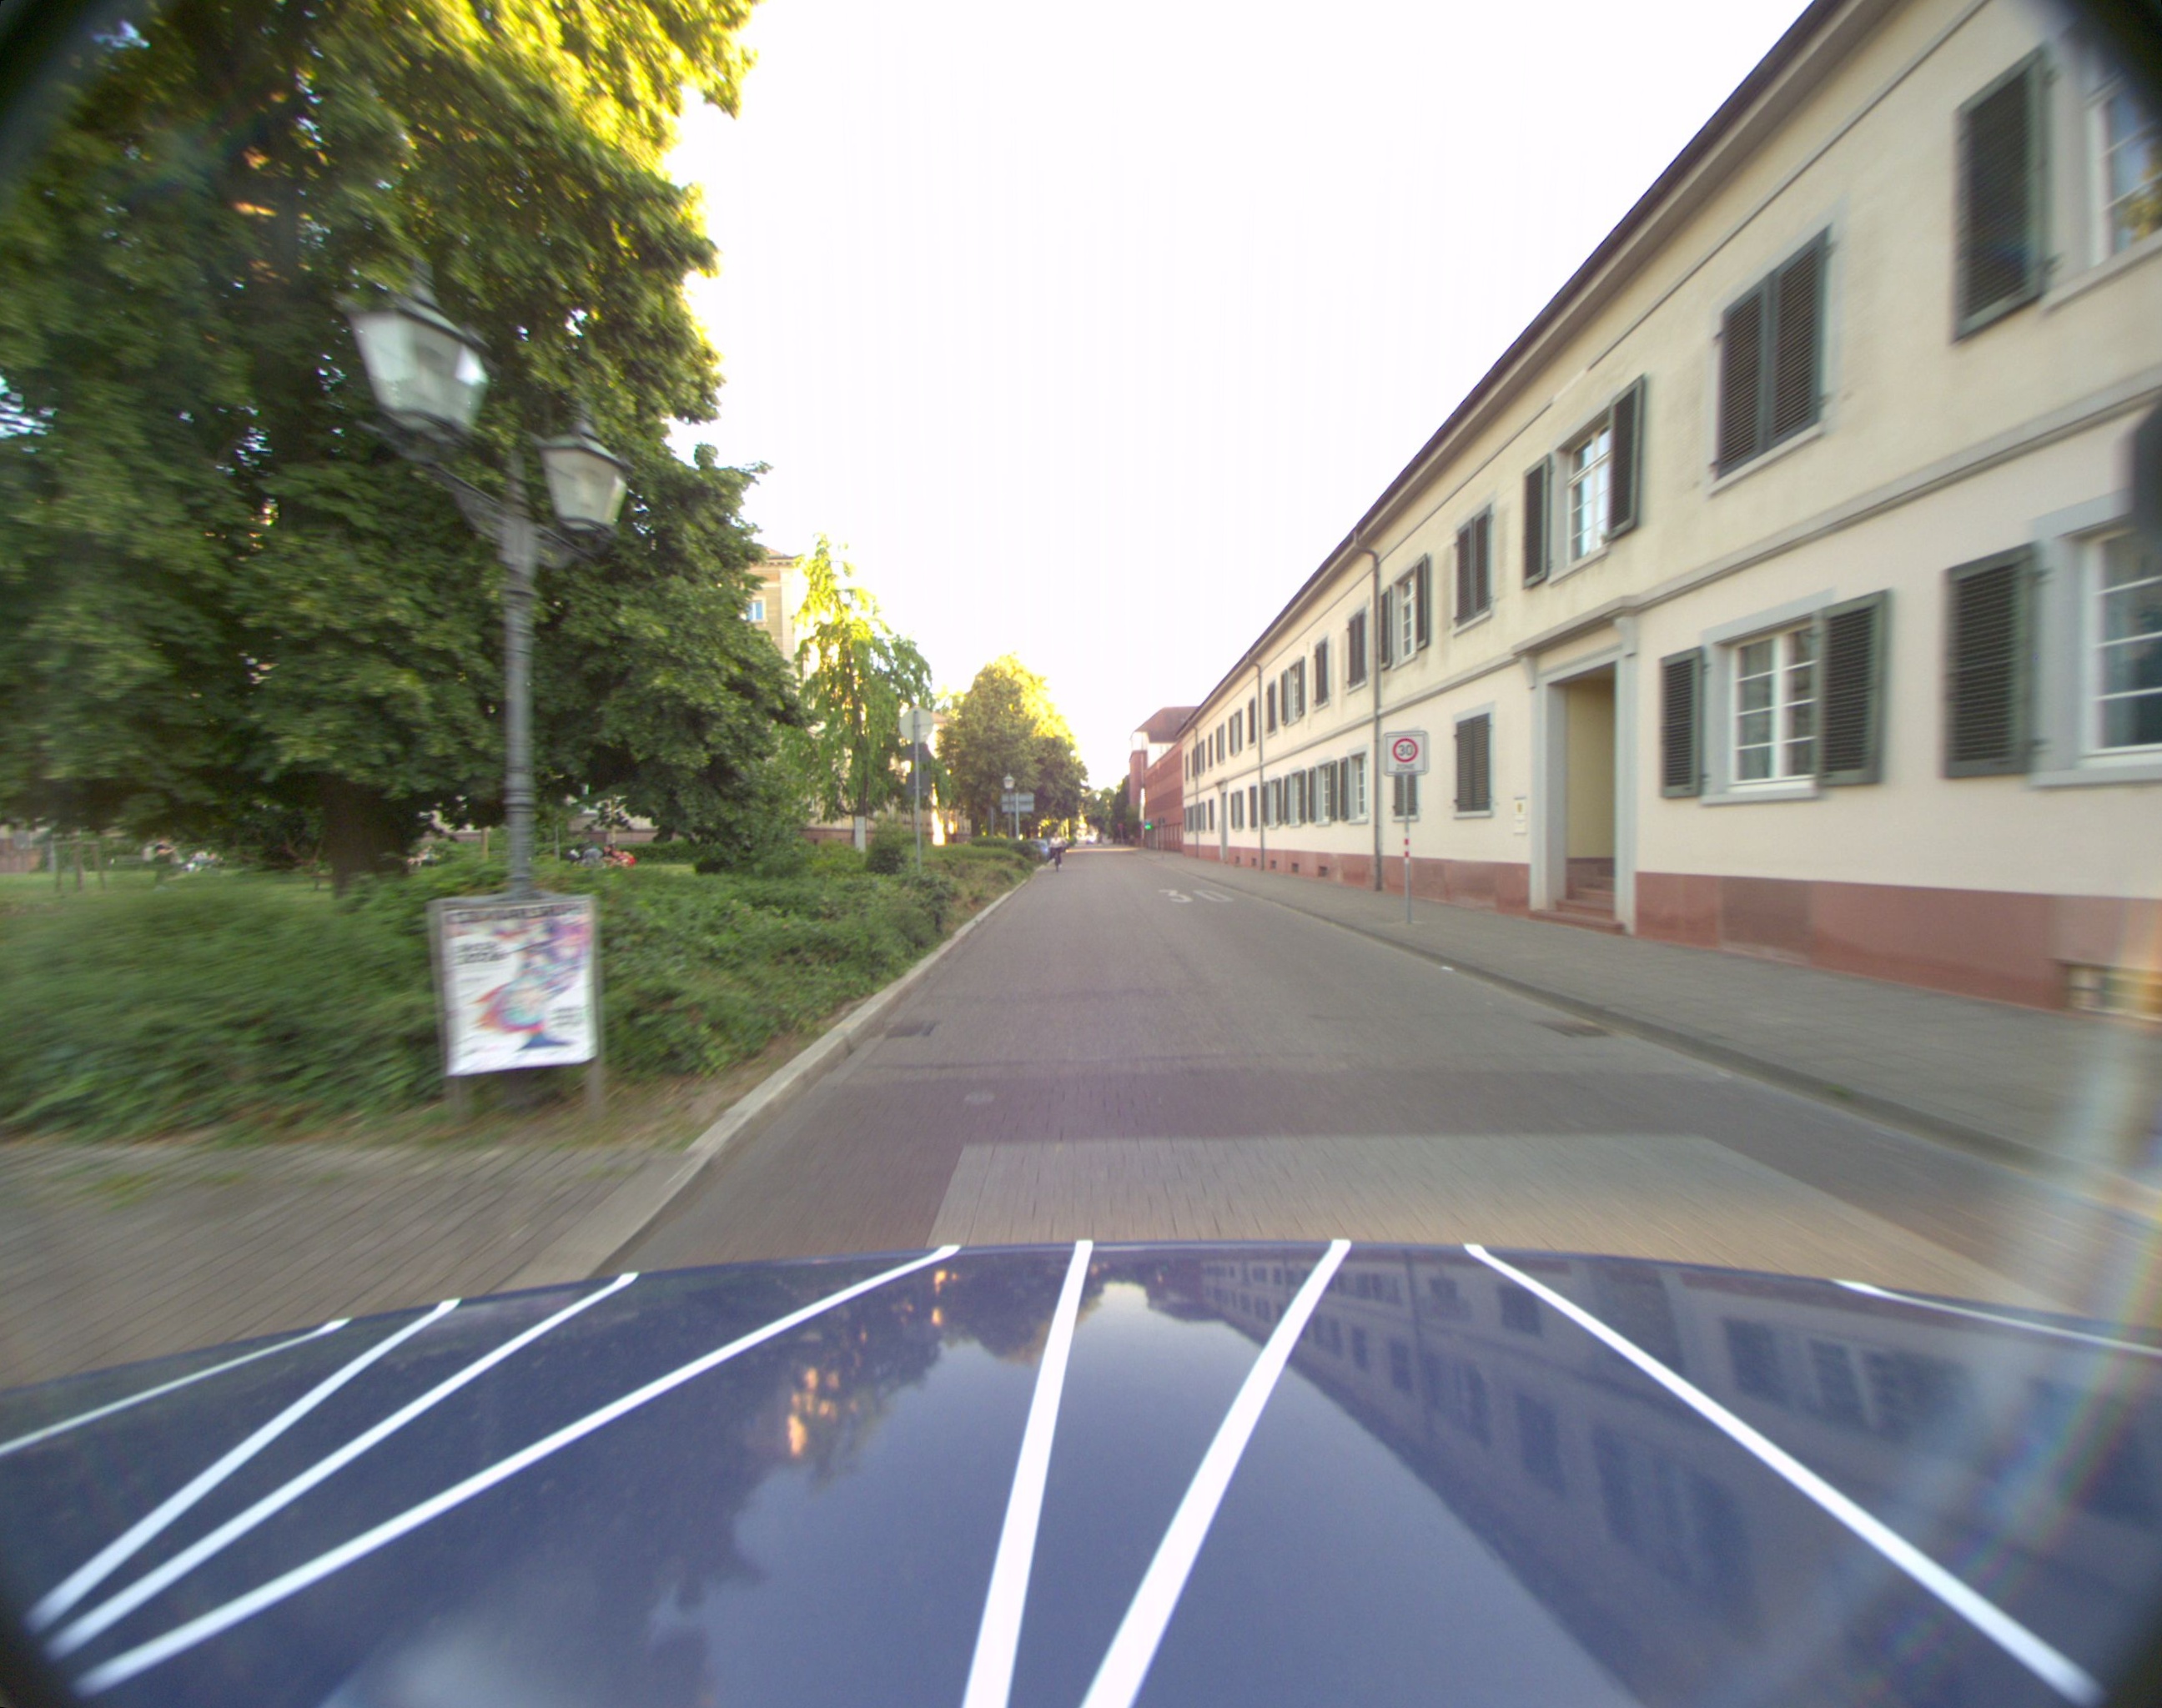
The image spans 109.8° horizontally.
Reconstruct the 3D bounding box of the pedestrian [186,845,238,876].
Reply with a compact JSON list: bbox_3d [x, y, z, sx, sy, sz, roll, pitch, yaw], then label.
[{"bbox_3d":[-44.809,0.340,39.207,0.802,1.547,1.567,0,2,1],"label":"pedestrian"}]

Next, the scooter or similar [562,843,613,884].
[{"bbox_3d":[-15.328,0.297,23.605,1.221,1.239,0.417,-1,2,-16],"label":"scooter or similar"}]

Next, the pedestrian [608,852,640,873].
[{"bbox_3d":[-13.846,0.244,23.030,0.542,0.546,1.375,2,1,-19],"label":"pedestrian"}]

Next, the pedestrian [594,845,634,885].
[{"bbox_3d":[-14.512,0.327,23.616,0.663,1.185,0.796,1,2,28],"label":"pedestrian"}]

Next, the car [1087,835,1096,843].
[{"bbox_3d":[2.738,-3.827,193.232,1.999,1.863,5.108,-1,0,-1],"label":"car"}]

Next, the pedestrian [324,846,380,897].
[{"bbox_3d":[-19.717,0.461,20.575,0.762,1.340,0.786,-1,2,-16],"label":"pedestrian"}]

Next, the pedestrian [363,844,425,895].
[{"bbox_3d":[-18.907,0.410,20.931,0.920,1.340,0.883,-1,2,-15],"label":"pedestrian"}]

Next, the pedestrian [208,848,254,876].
[{"bbox_3d":[-43.719,0.380,39.109,0.695,1.389,1.452,0,2,1],"label":"pedestrian"}]

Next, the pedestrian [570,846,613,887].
[{"bbox_3d":[-14.317,0.357,22.252,0.724,1.185,0.747,0,2,4],"label":"pedestrian"}]

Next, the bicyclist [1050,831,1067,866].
[{"bbox_3d":[-1.044,-0.280,35.456,0.753,1.603,1.038,0,2,-2],"label":"bicyclist"}]

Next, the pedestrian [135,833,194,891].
[{"bbox_3d":[-27.715,0.228,22.985,0.773,1.737,0.758,0,2,-3],"label":"pedestrian"}]

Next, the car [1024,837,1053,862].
[{"bbox_3d":[-2.792,-0.346,50.889,1.728,1.480,4.608,3,2,-1],"label":"car"}]

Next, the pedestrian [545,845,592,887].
[{"bbox_3d":[-15.093,0.350,22.391,0.808,1.185,0.789,0,2,4],"label":"pedestrian"}]

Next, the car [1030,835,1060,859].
[{"bbox_3d":[-2.657,-0.581,56.632,1.728,1.642,4.712,0,2,3],"label":"car"}]

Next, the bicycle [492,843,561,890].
[{"bbox_3d":[-16.256,0.344,22.335,0.621,1.292,2.017,0,2,-4],"label":"bicycle"}]

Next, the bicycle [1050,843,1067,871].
[{"bbox_3d":[-1.047,0.112,35.449,0.753,1.245,2.209,0,1,-2],"label":"bicycle"}]
